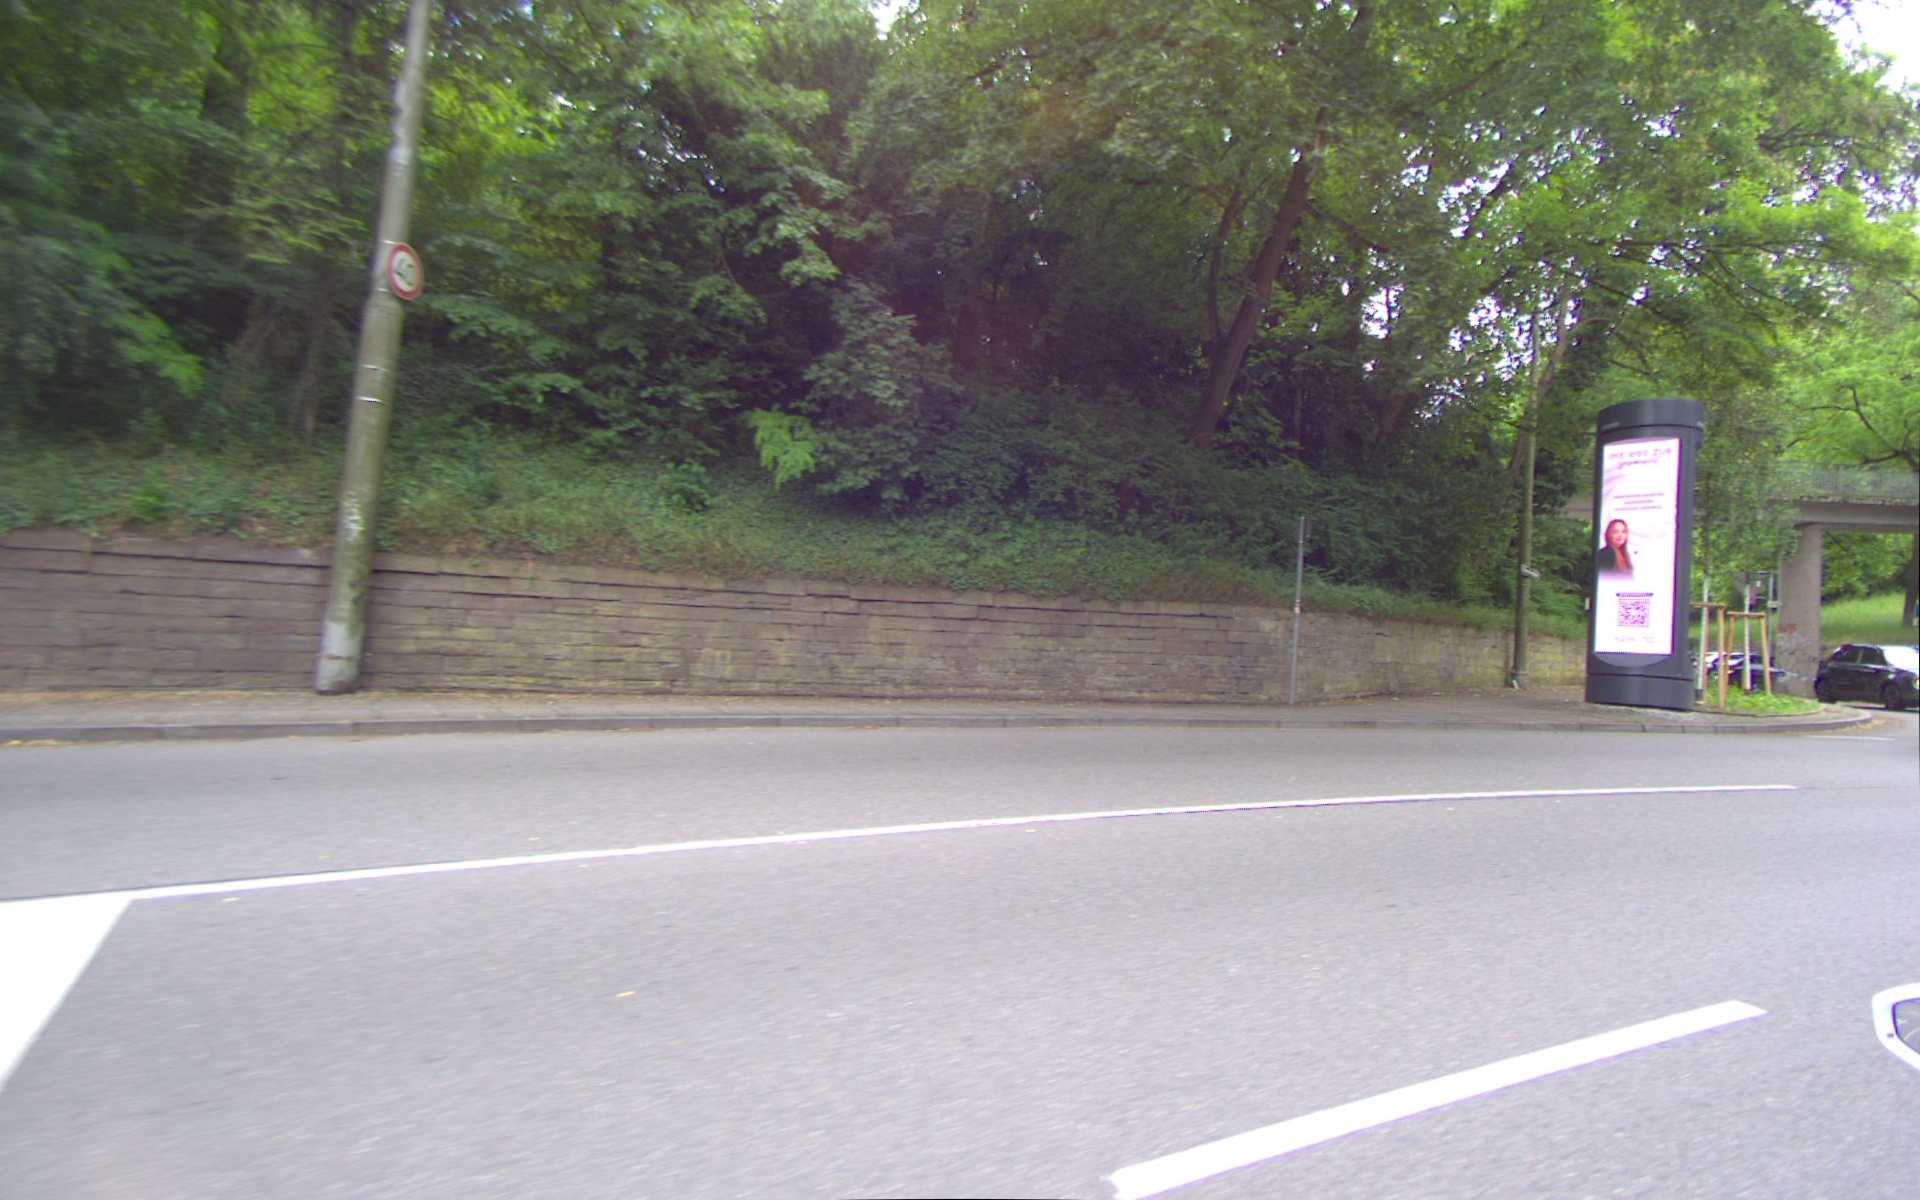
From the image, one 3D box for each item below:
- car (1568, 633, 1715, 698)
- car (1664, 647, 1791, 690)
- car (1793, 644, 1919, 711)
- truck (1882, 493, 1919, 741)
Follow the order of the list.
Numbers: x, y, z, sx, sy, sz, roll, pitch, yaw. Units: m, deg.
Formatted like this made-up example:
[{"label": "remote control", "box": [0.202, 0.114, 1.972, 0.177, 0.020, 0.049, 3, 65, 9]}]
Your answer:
[{"label": "car", "box": [19.965, 1.856, 29.683, 1.771, 1.706, 4.547, 2, -2, 8]}, {"label": "car", "box": [33.282, 2.944, 43.649, 3.919, 1.539, 1.827, 3, -1, 11]}, {"label": "car", "box": [21.371, 1.750, 23.267, 1.719, 1.376, 4.002, 1, -1, 16]}, {"label": "truck", "box": [16.648, 0.269, 12.618, 7.431, 3.343, 2.760, 1, -2, 2]}]
